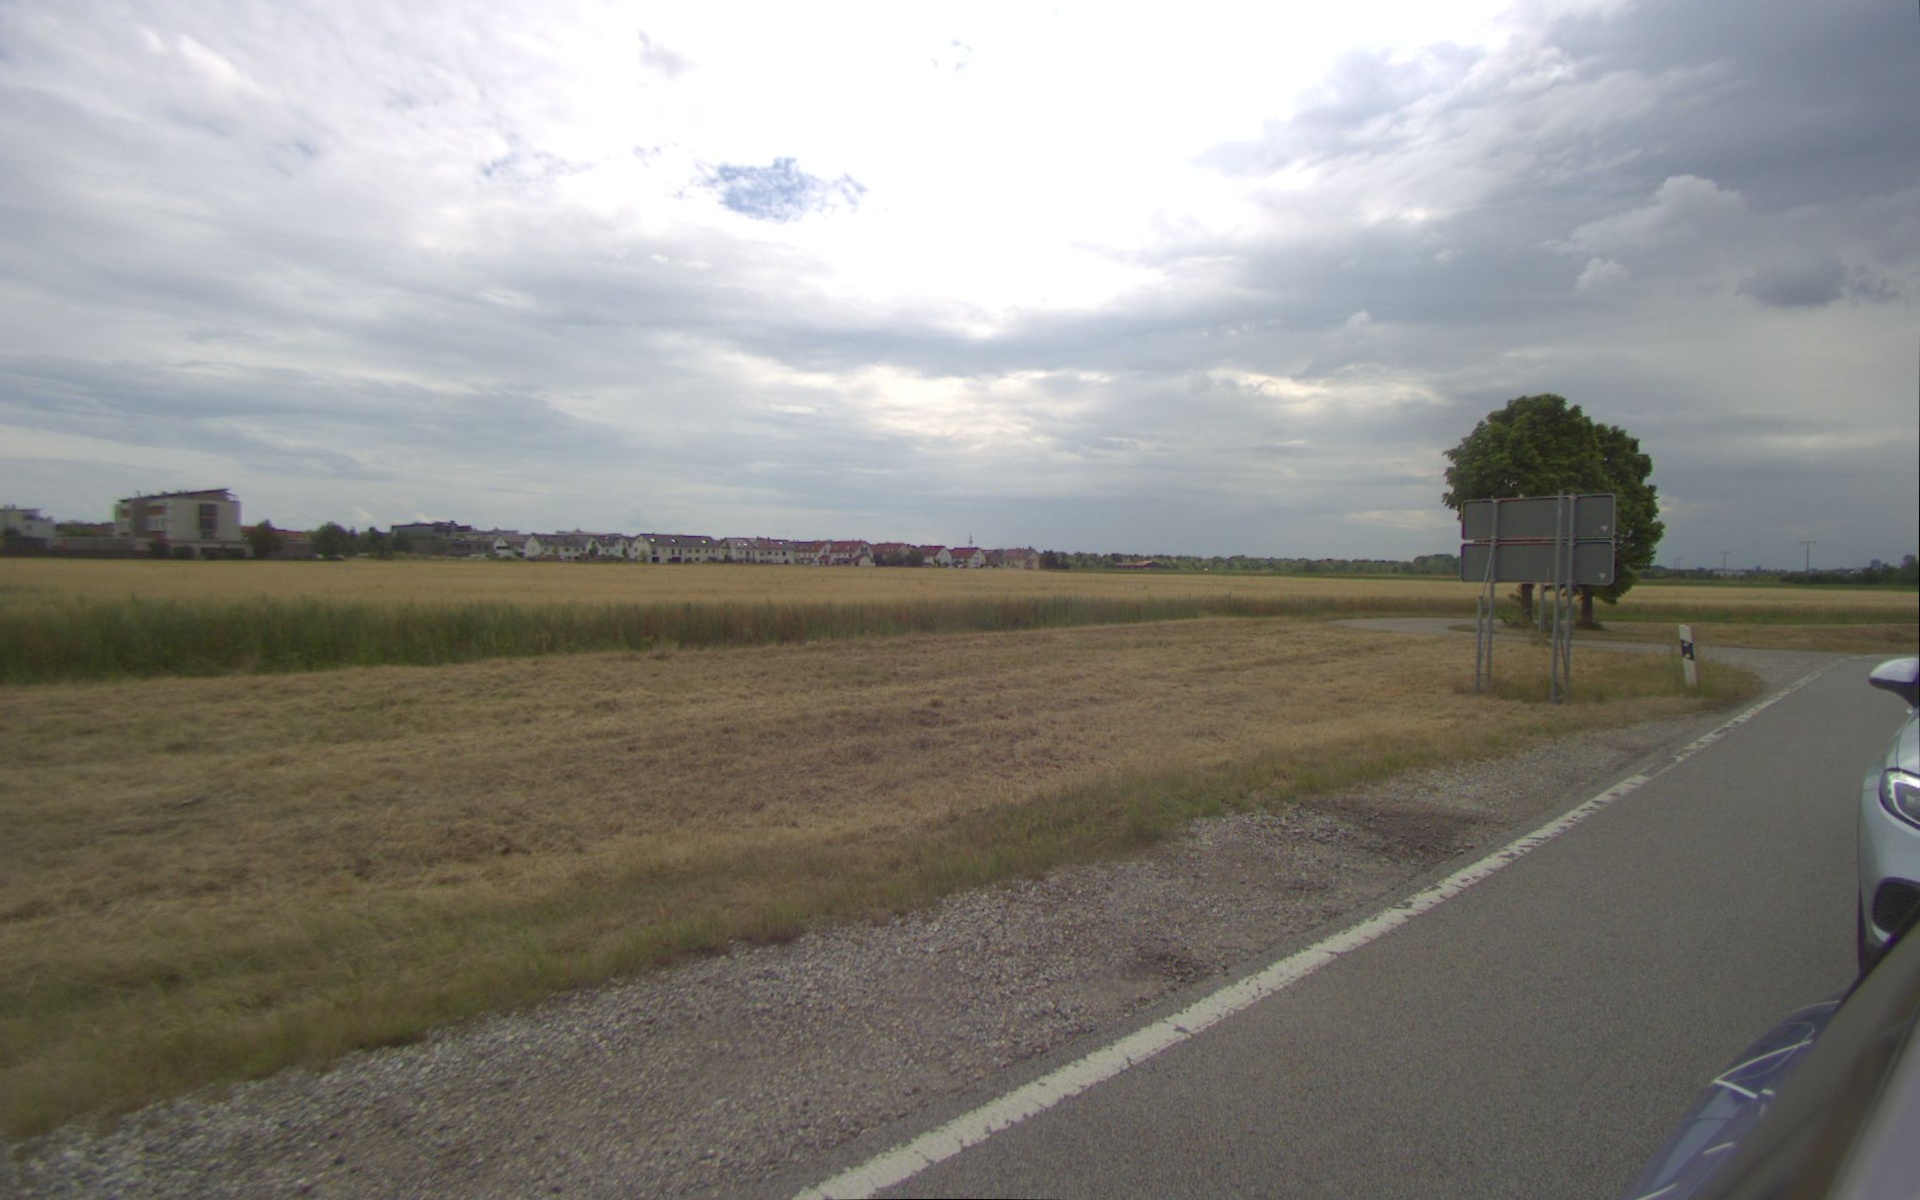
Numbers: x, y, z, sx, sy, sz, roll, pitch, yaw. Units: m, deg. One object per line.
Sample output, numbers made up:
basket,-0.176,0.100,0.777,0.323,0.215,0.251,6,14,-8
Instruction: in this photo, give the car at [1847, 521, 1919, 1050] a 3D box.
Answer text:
car,5.020,0.574,4.024,4.376,1.606,1.834,-1,3,-44
